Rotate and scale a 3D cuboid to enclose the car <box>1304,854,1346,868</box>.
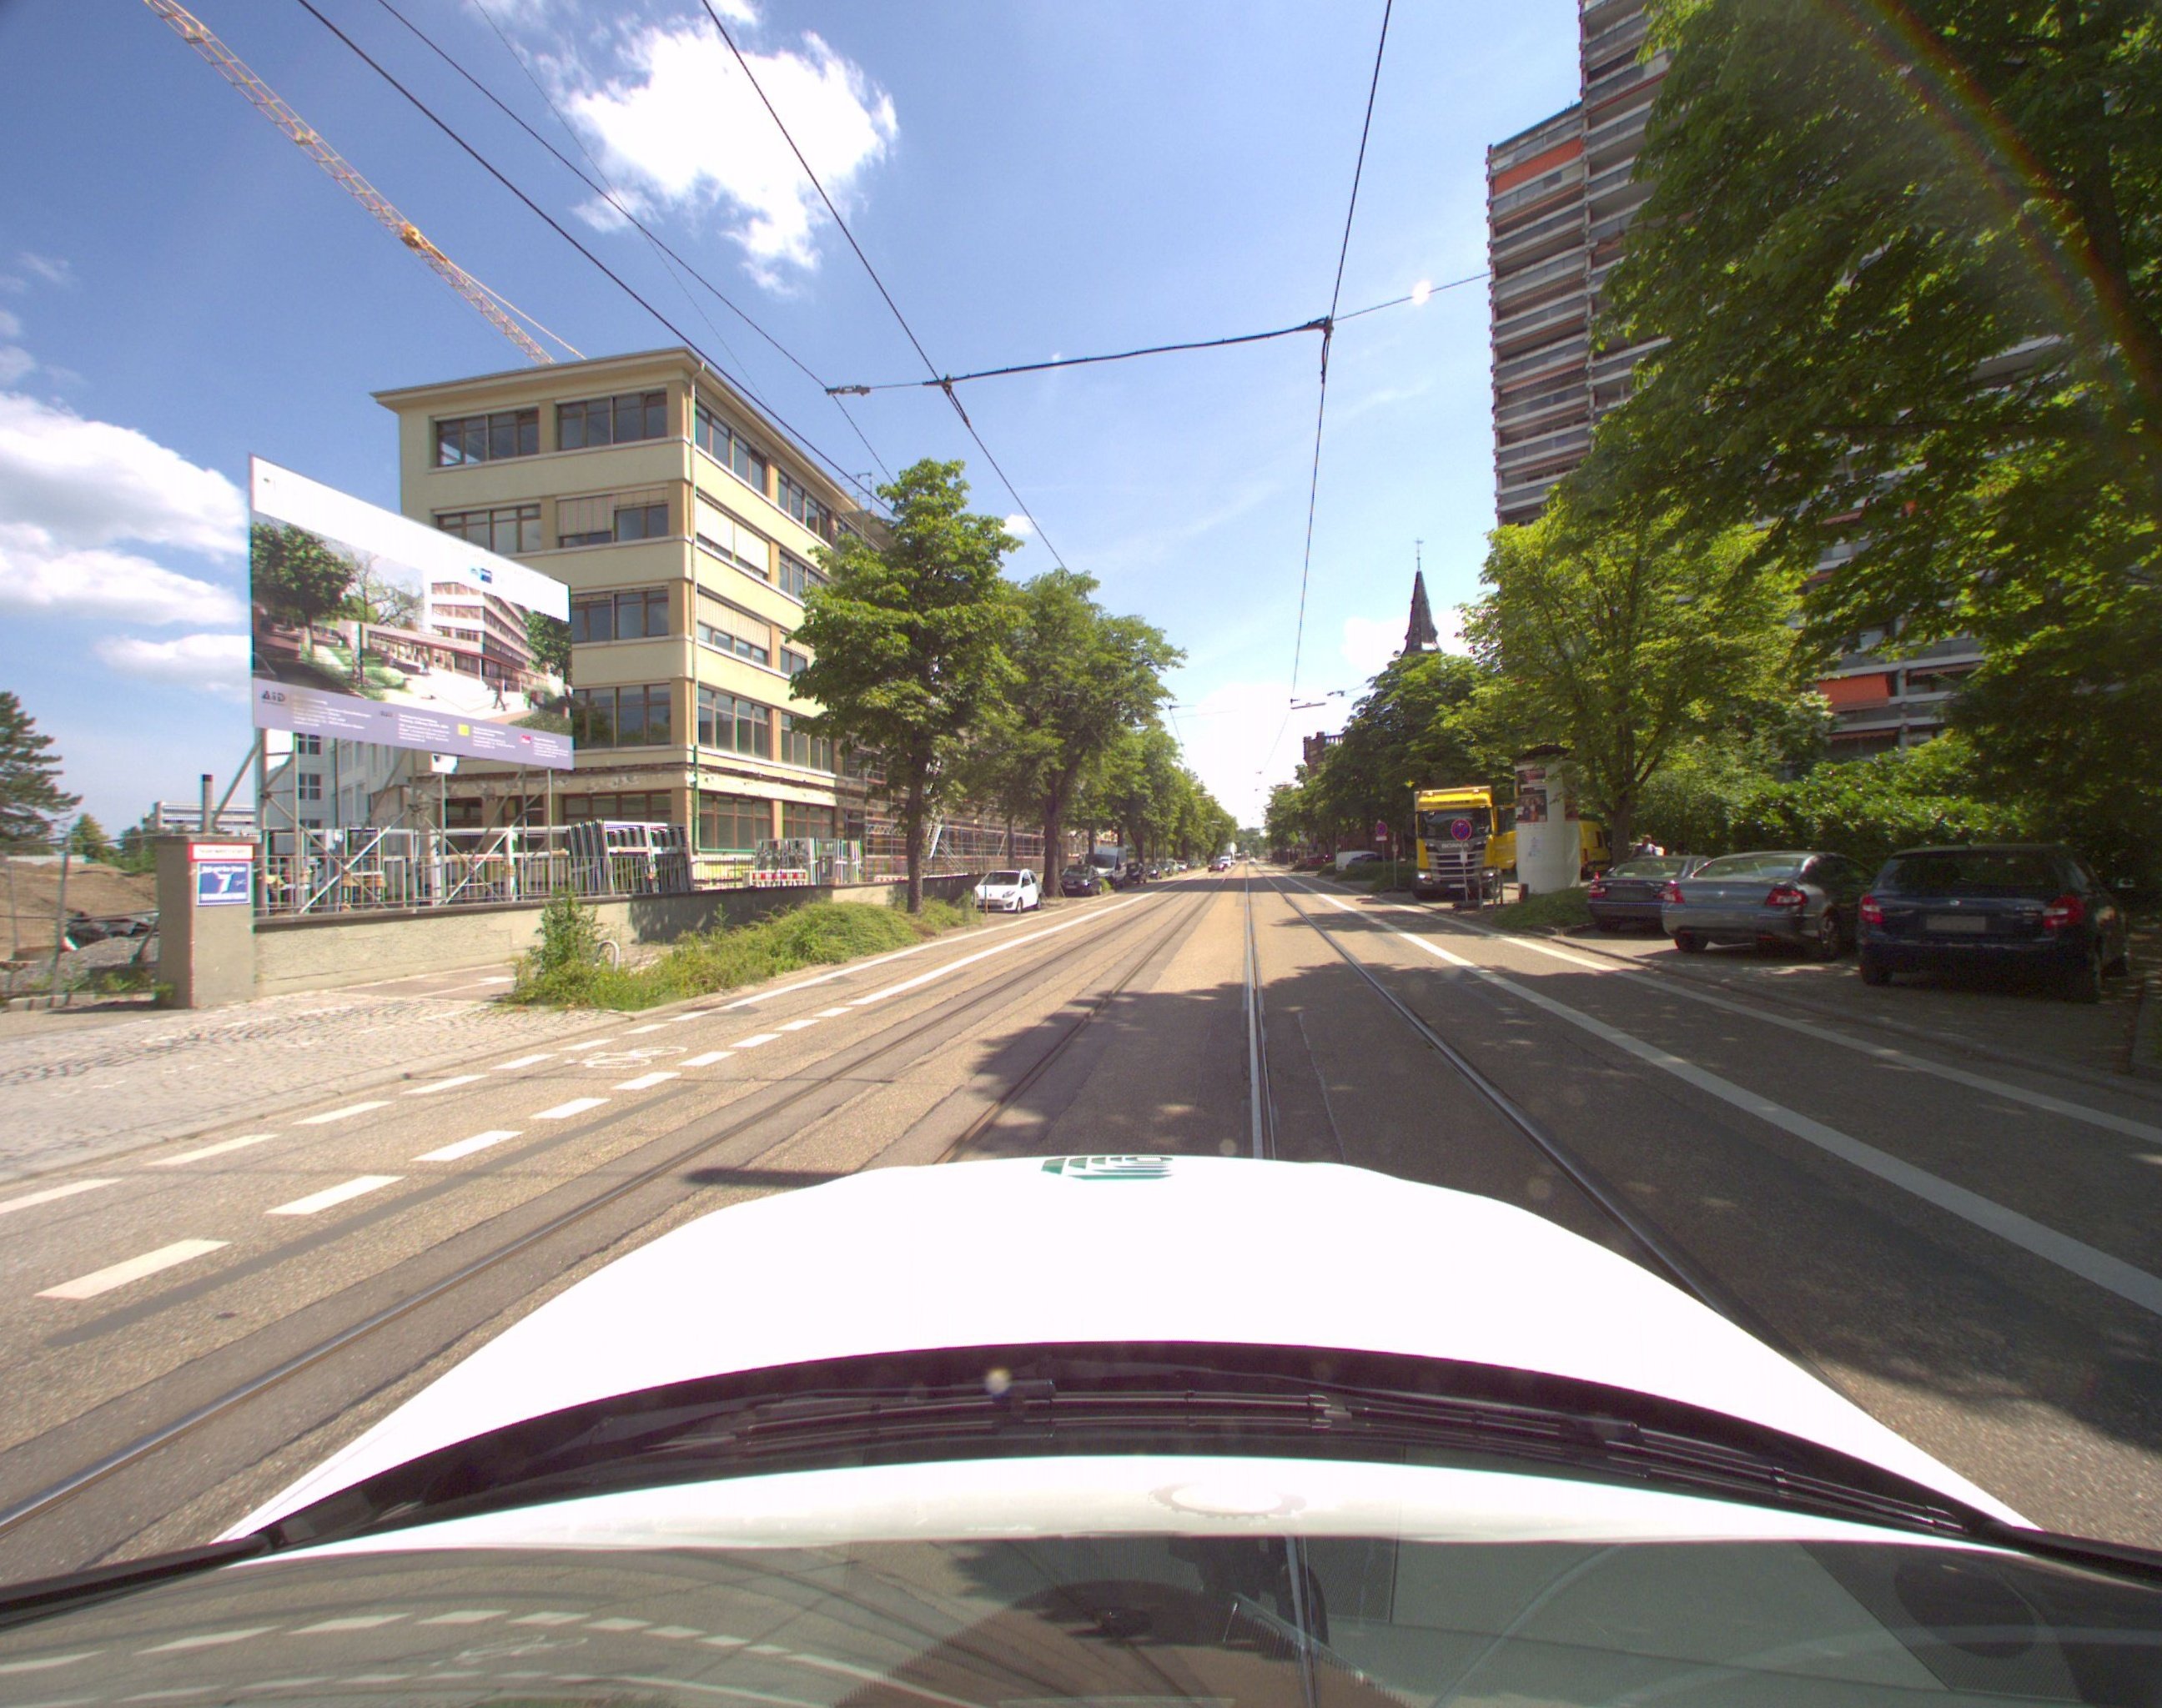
[{"bbox_3d":[27.525,0.820,91.913,3.988,1.486,1.993,-1,0,-11],"label":"car"}]

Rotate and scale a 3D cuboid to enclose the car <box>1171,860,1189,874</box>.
[{"bbox_3d":[12.056,1.587,99.158,1.810,1.574,4.012,-1,0,11],"label":"car"}]

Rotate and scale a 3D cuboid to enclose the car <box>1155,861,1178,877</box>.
[{"bbox_3d":[8.730,1.521,82.822,1.980,1.486,4.351,-1,0,11],"label":"car"}]

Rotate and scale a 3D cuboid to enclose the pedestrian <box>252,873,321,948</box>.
[{"bbox_3d":[-20.063,1.401,20.581,0.860,1.819,0.972,-1,-1,21],"label":"pedestrian"}]

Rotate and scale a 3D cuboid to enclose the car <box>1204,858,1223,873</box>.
[{"bbox_3d":[15.437,1.320,94.531,1.980,1.689,4.013,-1,-1,12],"label":"car"}]

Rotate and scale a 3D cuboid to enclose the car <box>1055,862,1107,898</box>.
[{"bbox_3d":[0.068,1.225,39.587,1.982,1.607,4.009,0,-1,8],"label":"car"}]

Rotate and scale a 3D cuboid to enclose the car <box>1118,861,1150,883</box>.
[{"bbox_3d":[3.701,1.241,56.673,1.983,1.456,4.007,-1,0,6],"label":"car"}]

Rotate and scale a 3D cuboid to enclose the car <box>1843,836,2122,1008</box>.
[{"bbox_3d":[9.930,0.595,8.914,3.591,1.516,1.632,-1,-1,-36],"label":"car"}]

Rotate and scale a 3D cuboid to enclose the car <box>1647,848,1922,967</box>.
[{"bbox_3d":[10.394,0.672,11.991,4.034,1.463,1.802,-1,-1,-30],"label":"car"}]

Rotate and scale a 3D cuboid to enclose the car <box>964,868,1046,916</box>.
[{"bbox_3d":[-2.500,1.246,27.610,1.605,1.440,3.598,-1,-1,15],"label":"car"}]

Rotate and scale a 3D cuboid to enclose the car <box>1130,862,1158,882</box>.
[{"bbox_3d":[5.214,1.454,66.850,1.982,1.486,4.009,-1,0,8],"label":"car"}]

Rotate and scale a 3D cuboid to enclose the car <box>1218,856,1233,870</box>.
[{"bbox_3d":[21.753,1.338,122.683,1.980,2.014,4.013,-1,-1,12],"label":"car"}]

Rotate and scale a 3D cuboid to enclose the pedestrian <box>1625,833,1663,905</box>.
[{"bbox_3d":[14.975,0.398,21.677,0.707,1.875,0.581,-1,-1,25],"label":"pedestrian"}]

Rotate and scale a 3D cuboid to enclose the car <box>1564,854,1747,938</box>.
[{"bbox_3d":[11.047,0.718,15.567,4.040,1.373,1.612,-1,-1,-36],"label":"car"}]

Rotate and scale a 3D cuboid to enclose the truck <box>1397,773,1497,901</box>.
[{"bbox_3d":[14.010,-0.506,30.660,2.716,4.006,9.803,-2,-1,28],"label":"truck"}]

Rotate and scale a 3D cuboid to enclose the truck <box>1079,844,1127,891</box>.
[{"bbox_3d":[1.350,0.754,46.971,2.008,2.485,5.886,-1,0,8],"label":"truck"}]

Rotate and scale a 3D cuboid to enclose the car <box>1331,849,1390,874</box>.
[{"bbox_3d":[20.610,0.556,60.093,4.008,1.794,1.819,-1,-1,-27],"label":"car"}]
